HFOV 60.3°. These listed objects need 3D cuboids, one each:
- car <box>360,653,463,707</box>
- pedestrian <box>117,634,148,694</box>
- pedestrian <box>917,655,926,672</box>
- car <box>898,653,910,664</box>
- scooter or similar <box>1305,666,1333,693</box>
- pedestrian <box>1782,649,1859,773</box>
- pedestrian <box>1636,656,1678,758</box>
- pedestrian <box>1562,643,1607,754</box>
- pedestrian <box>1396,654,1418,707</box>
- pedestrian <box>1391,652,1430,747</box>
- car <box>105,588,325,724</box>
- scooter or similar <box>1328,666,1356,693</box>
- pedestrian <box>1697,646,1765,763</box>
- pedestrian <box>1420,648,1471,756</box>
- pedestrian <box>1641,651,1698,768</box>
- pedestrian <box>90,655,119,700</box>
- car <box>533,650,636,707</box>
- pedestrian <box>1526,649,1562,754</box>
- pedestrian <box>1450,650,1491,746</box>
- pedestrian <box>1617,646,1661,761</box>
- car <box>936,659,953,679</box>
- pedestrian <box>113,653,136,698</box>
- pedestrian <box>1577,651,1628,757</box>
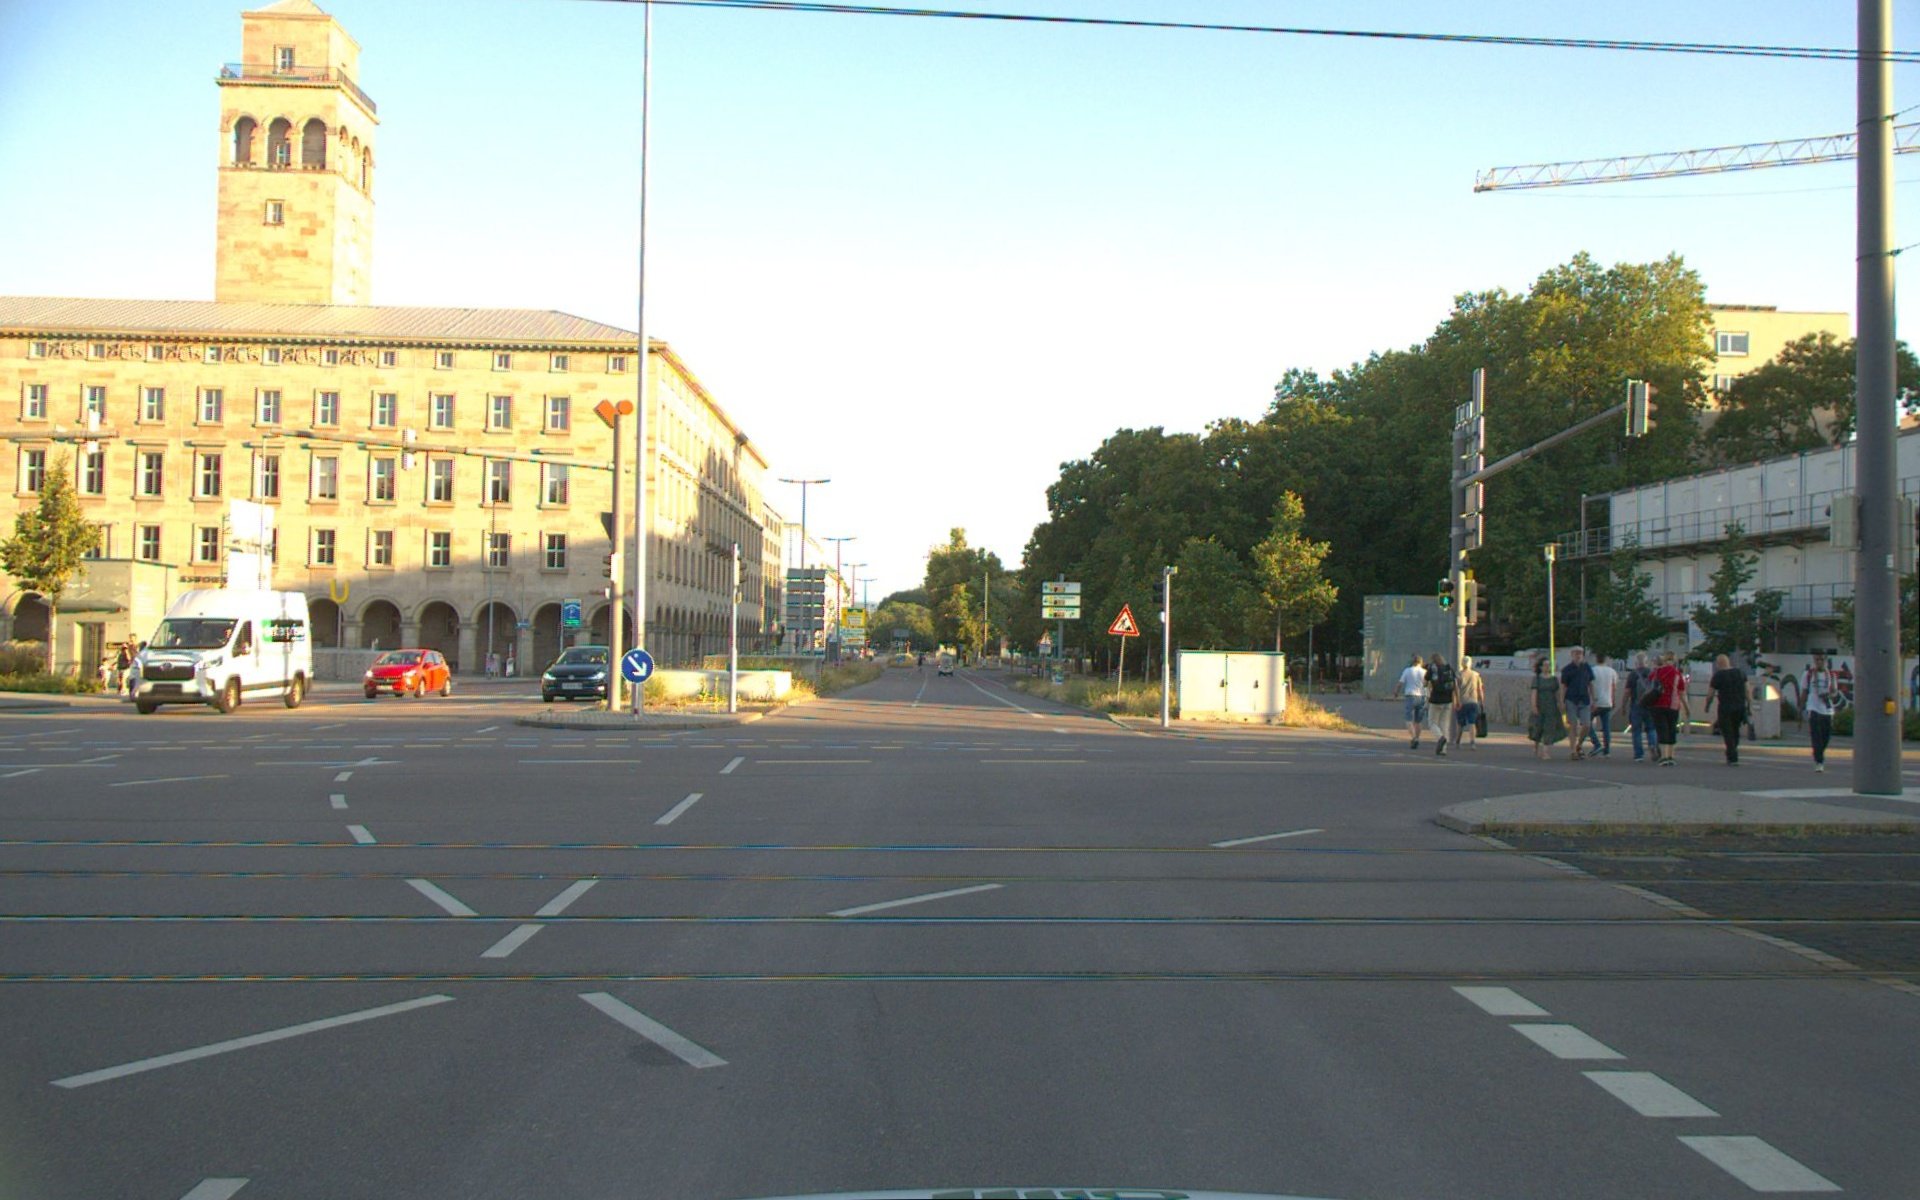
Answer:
[{"bbox_3d":[-16.884,2.443,51.065,1.702,1.513,4.001,1,-1,2],"label":"car"},{"bbox_3d":[-24.928,1.933,49.827,0.609,1.774,0.459,2,-3,-7],"label":"pedestrian"},{"bbox_3d":[-3.900,6.376,166.095,0.888,1.700,1.306,1,-1,-3],"label":"pedestrian"},{"bbox_3d":[-6.991,7.304,206.824,1.341,1.256,3.044,1,-1,0],"label":"car"},{"bbox_3d":[17.220,3.812,79.337,0.558,1.224,2.982,1,-1,-2],"label":"scooter or similar"},{"bbox_3d":[12.966,1.659,24.936,0.788,1.823,0.801,1,-1,6],"label":"pedestrian"},{"bbox_3d":[11.975,1.831,28.426,0.560,1.708,0.639,0,-1,12],"label":"pedestrian"},{"bbox_3d":[10.258,1.600,27.190,0.665,1.788,0.902,0,-1,19],"label":"pedestrian"},{"bbox_3d":[16.093,2.876,59.550,0.652,1.875,0.713,1,-1,3],"label":"pedestrian"},{"bbox_3d":[8.488,1.857,31.149,0.696,1.755,0.669,0,-1,15],"label":"pedestrian"},{"bbox_3d":[-16.721,1.242,37.603,2.232,2.825,6.082,1,-2,-1],"label":"car"},{"bbox_3d":[18.339,3.827,79.507,0.558,1.224,2.982,1,-1,-2],"label":"scooter or similar"},{"bbox_3d":[12.349,1.662,26.507,0.788,1.823,0.801,1,-1,7],"label":"pedestrian"},{"bbox_3d":[8.114,1.688,27.676,0.695,1.755,0.915,1,-1,9],"label":"pedestrian"},{"bbox_3d":[11.027,1.686,25.711,0.688,1.765,0.848,0,-1,14],"label":"pedestrian"},{"bbox_3d":[-25.567,2.319,49.424,0.496,1.323,0.700,2,-3,-7],"label":"pedestrian"},{"bbox_3d":[-9.915,2.056,43.925,1.785,1.365,4.000,1,-1,0],"label":"car"},{"bbox_3d":[9.658,1.668,27.385,0.548,1.684,0.902,0,-1,19],"label":"pedestrian"},{"bbox_3d":[9.549,1.821,30.958,0.696,1.755,0.669,0,-1,15],"label":"pedestrian"},{"bbox_3d":[11.048,1.673,26.931,0.560,1.823,0.639,0,-1,12],"label":"pedestrian"},{"bbox_3d":[-1.403,6.175,148.379,1.453,1.726,2.973,1,-2,-1],"label":"car"},{"bbox_3d":[-24.802,2.239,49.088,0.412,1.323,0.459,2,-3,-7],"label":"pedestrian"},{"bbox_3d":[10.985,1.755,28.283,0.697,1.755,0.913,0,-2,29],"label":"pedestrian"}]
